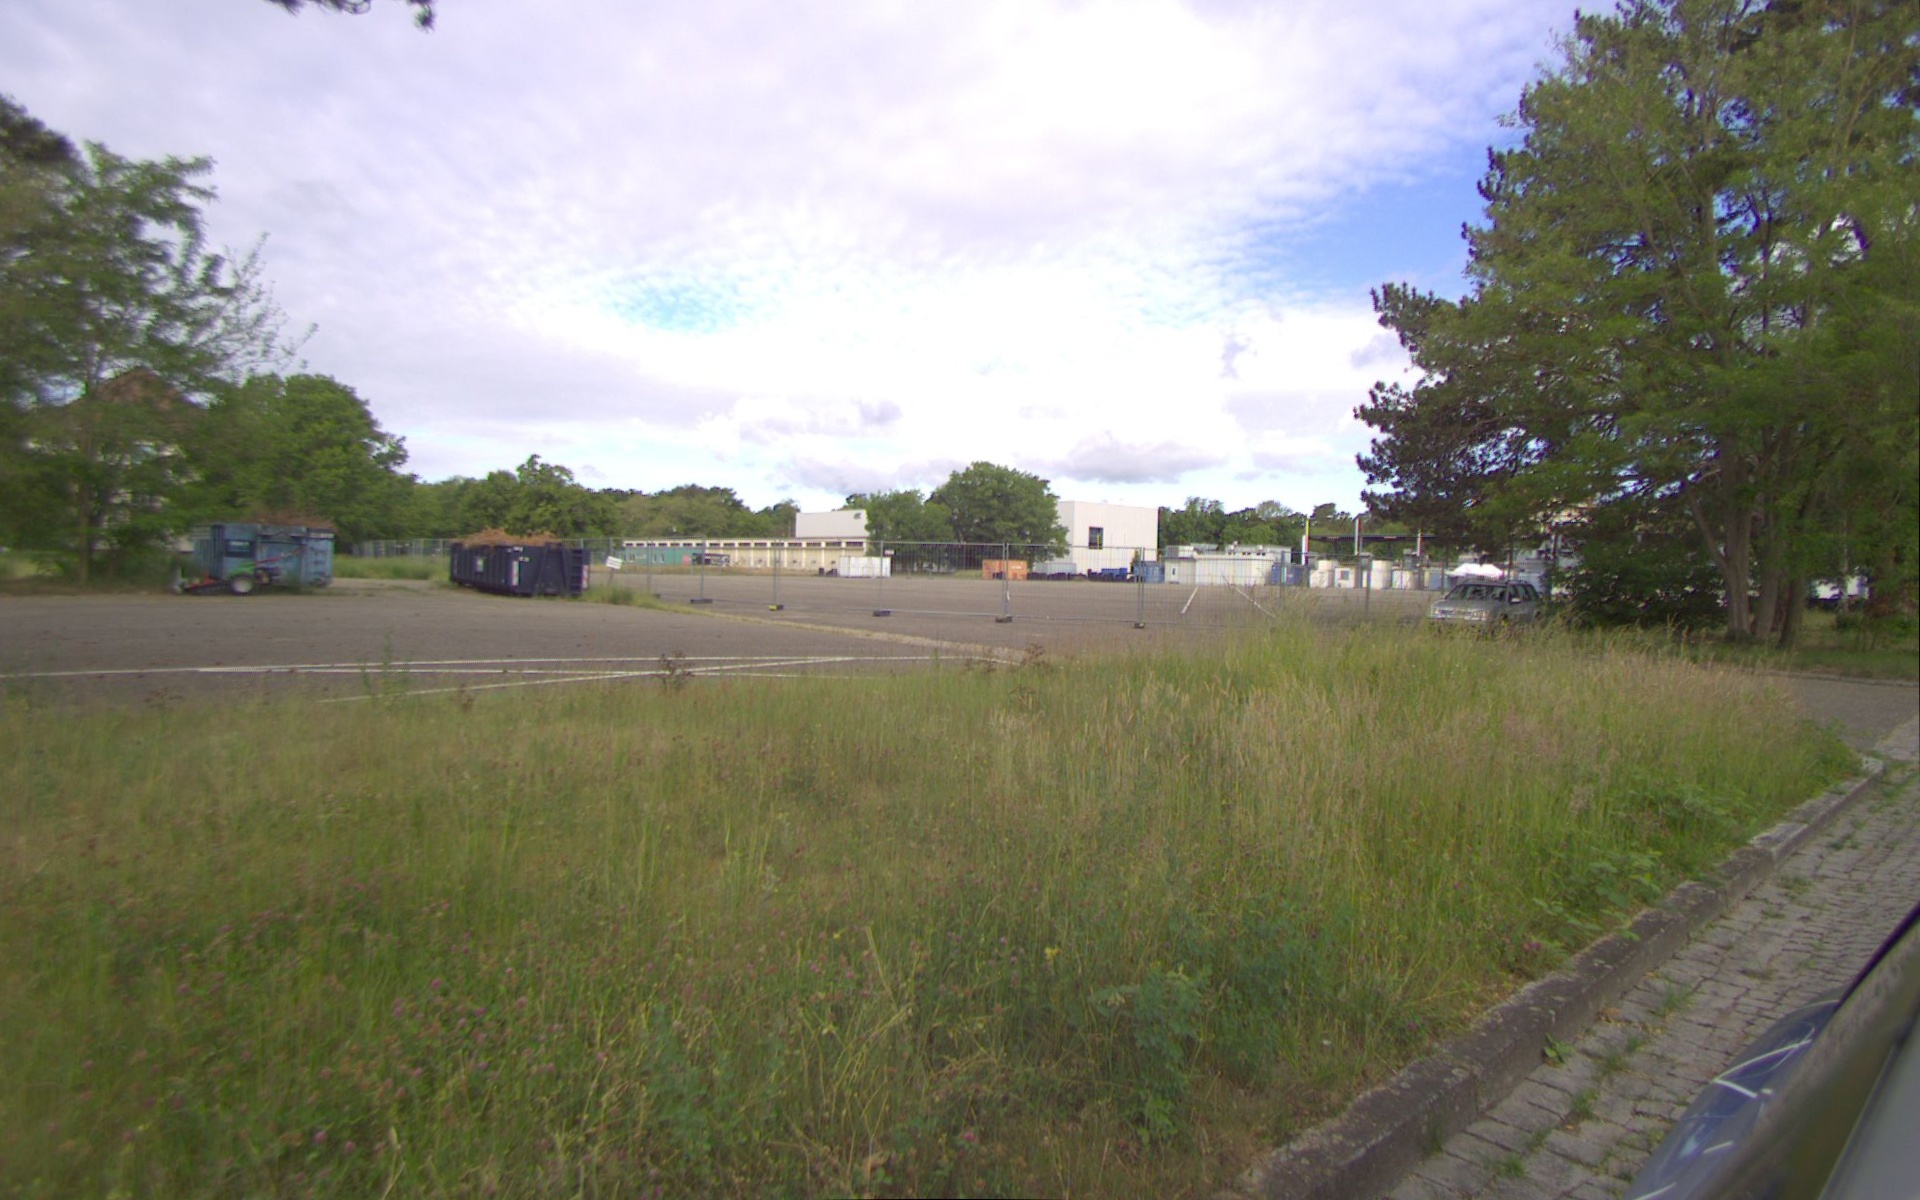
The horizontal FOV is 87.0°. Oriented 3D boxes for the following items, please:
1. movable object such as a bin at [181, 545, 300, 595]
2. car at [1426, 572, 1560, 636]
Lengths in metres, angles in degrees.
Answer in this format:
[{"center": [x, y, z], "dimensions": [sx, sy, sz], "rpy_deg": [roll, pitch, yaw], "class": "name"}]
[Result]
[{"center": [-17.242, -0.698, 24.284], "dimensions": [0.958, 1.148, 2.181], "rpy_deg": [1, 1, 40], "class": "movable object such as a bin"}, {"center": [13.629, 0.055, 25.752], "dimensions": [4.414, 1.468, 1.676], "rpy_deg": [-1, 2, -44], "class": "car"}]
